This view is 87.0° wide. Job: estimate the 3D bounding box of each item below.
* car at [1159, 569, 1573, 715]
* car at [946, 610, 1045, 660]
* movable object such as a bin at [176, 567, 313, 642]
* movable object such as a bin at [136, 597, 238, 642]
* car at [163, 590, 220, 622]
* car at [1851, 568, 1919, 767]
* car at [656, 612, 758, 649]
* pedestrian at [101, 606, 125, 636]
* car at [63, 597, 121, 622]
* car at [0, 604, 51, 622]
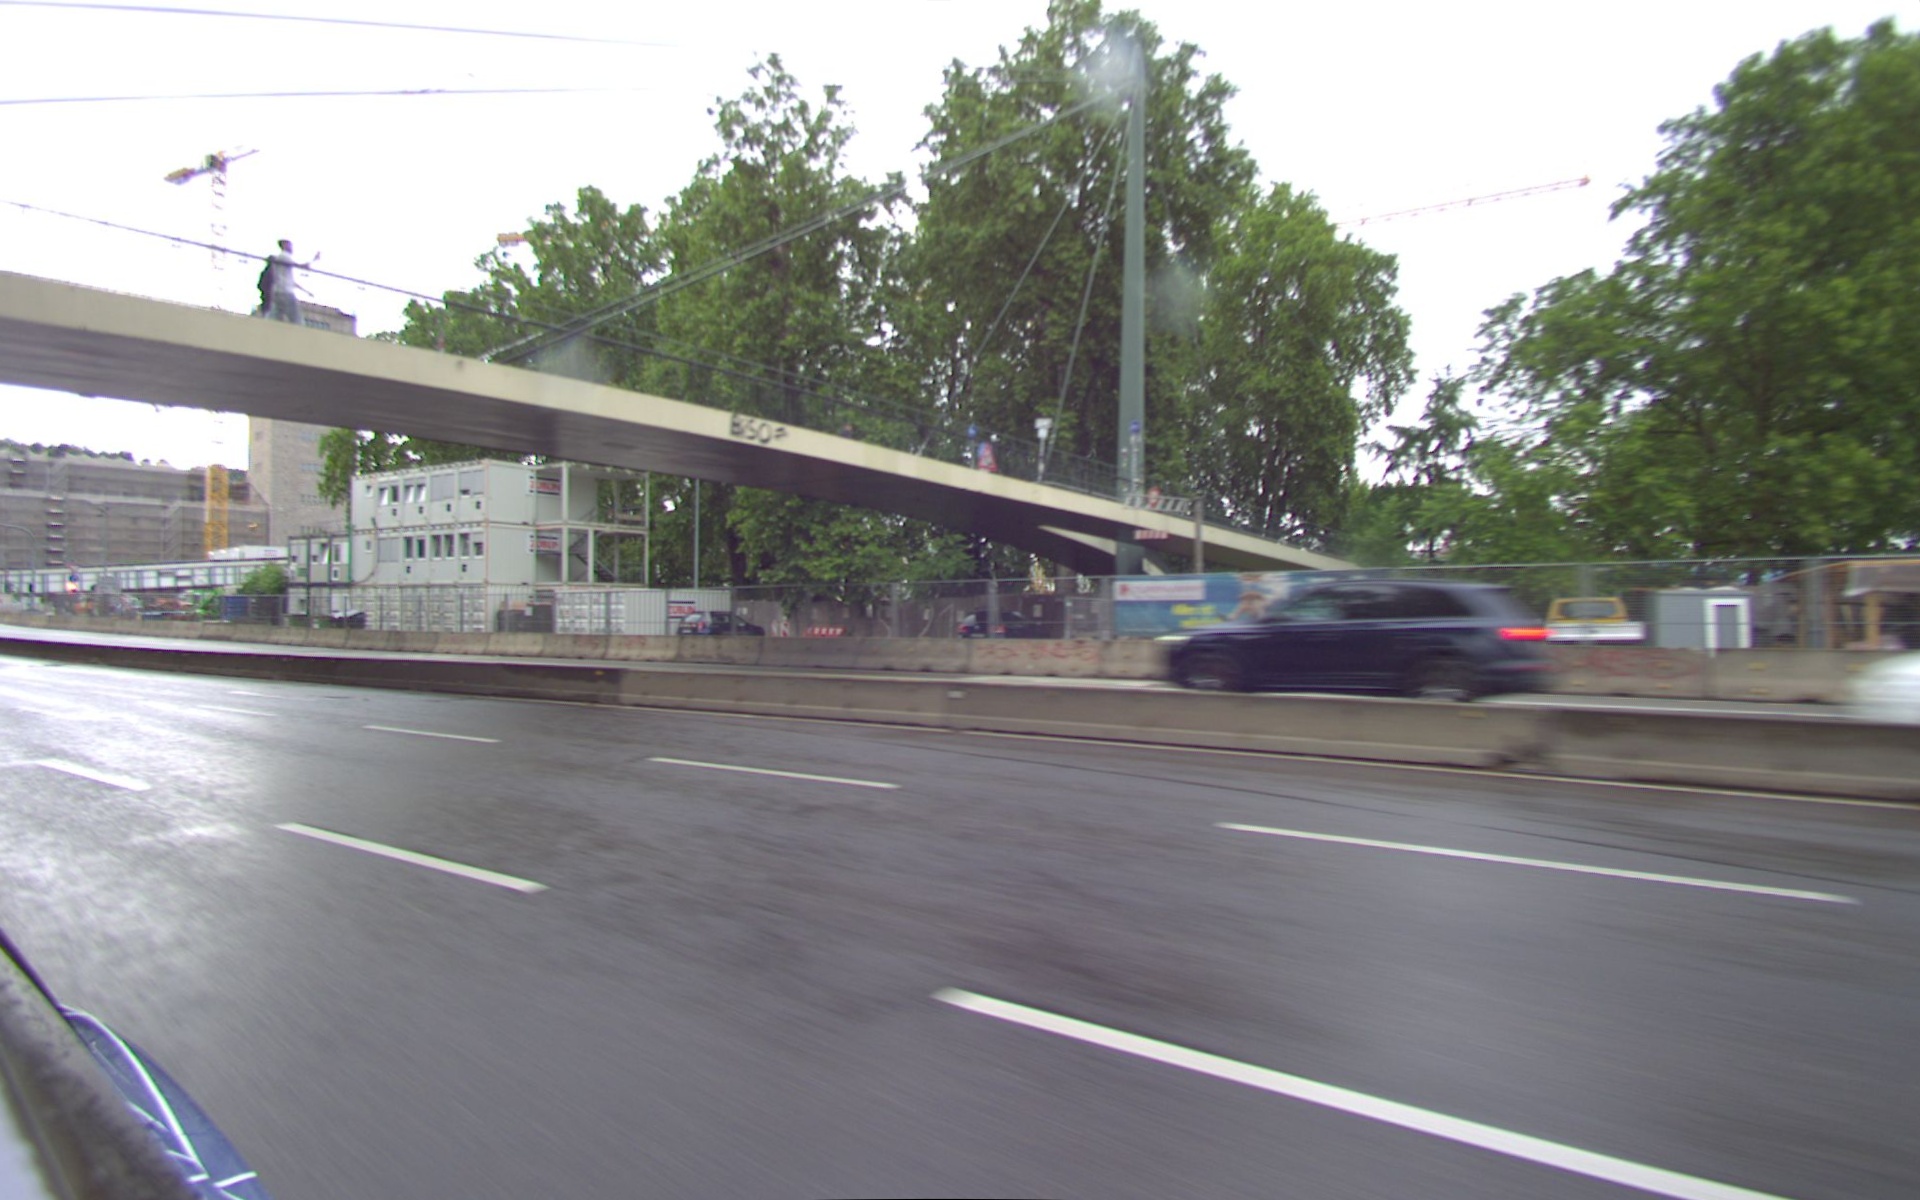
[{"bbox_3d":[5.341,0.541,13.609,4.841,1.643,2.064,-1,-2,35],"label":"car"},{"bbox_3d":[1.327,1.207,35.659,1.948,1.640,4.400,0,-2,25],"label":"car"},{"bbox_3d":[-48.948,0.330,69.182,8.332,4.839,4.714,0,-1,32],"label":"movable object such as a bin"},{"bbox_3d":[-56.532,1.408,74.019,6.367,3.152,3.902,0,-1,32],"label":"movable object such as a bin"},{"bbox_3d":[-75.170,0.584,98.939,6.146,3.089,2.257,0,-1,31],"label":"car"},{"bbox_3d":[8.994,0.542,7.465,3.442,1.501,1.694,0,-1,35],"label":"car"},{"bbox_3d":[-10.805,1.306,43.385,1.994,1.454,3.956,0,-1,32],"label":"car"},{"bbox_3d":[-58.053,1.416,69.371,1.174,2.029,1.166,0,0,44],"label":"pedestrian"},{"bbox_3d":[-77.281,0.839,90.112,5.557,2.117,1.981,1,-3,29],"label":"car"},{"bbox_3d":[-108.303,1.499,116.770,4.950,2.029,2.002,1,-1,-4],"label":"car"}]
